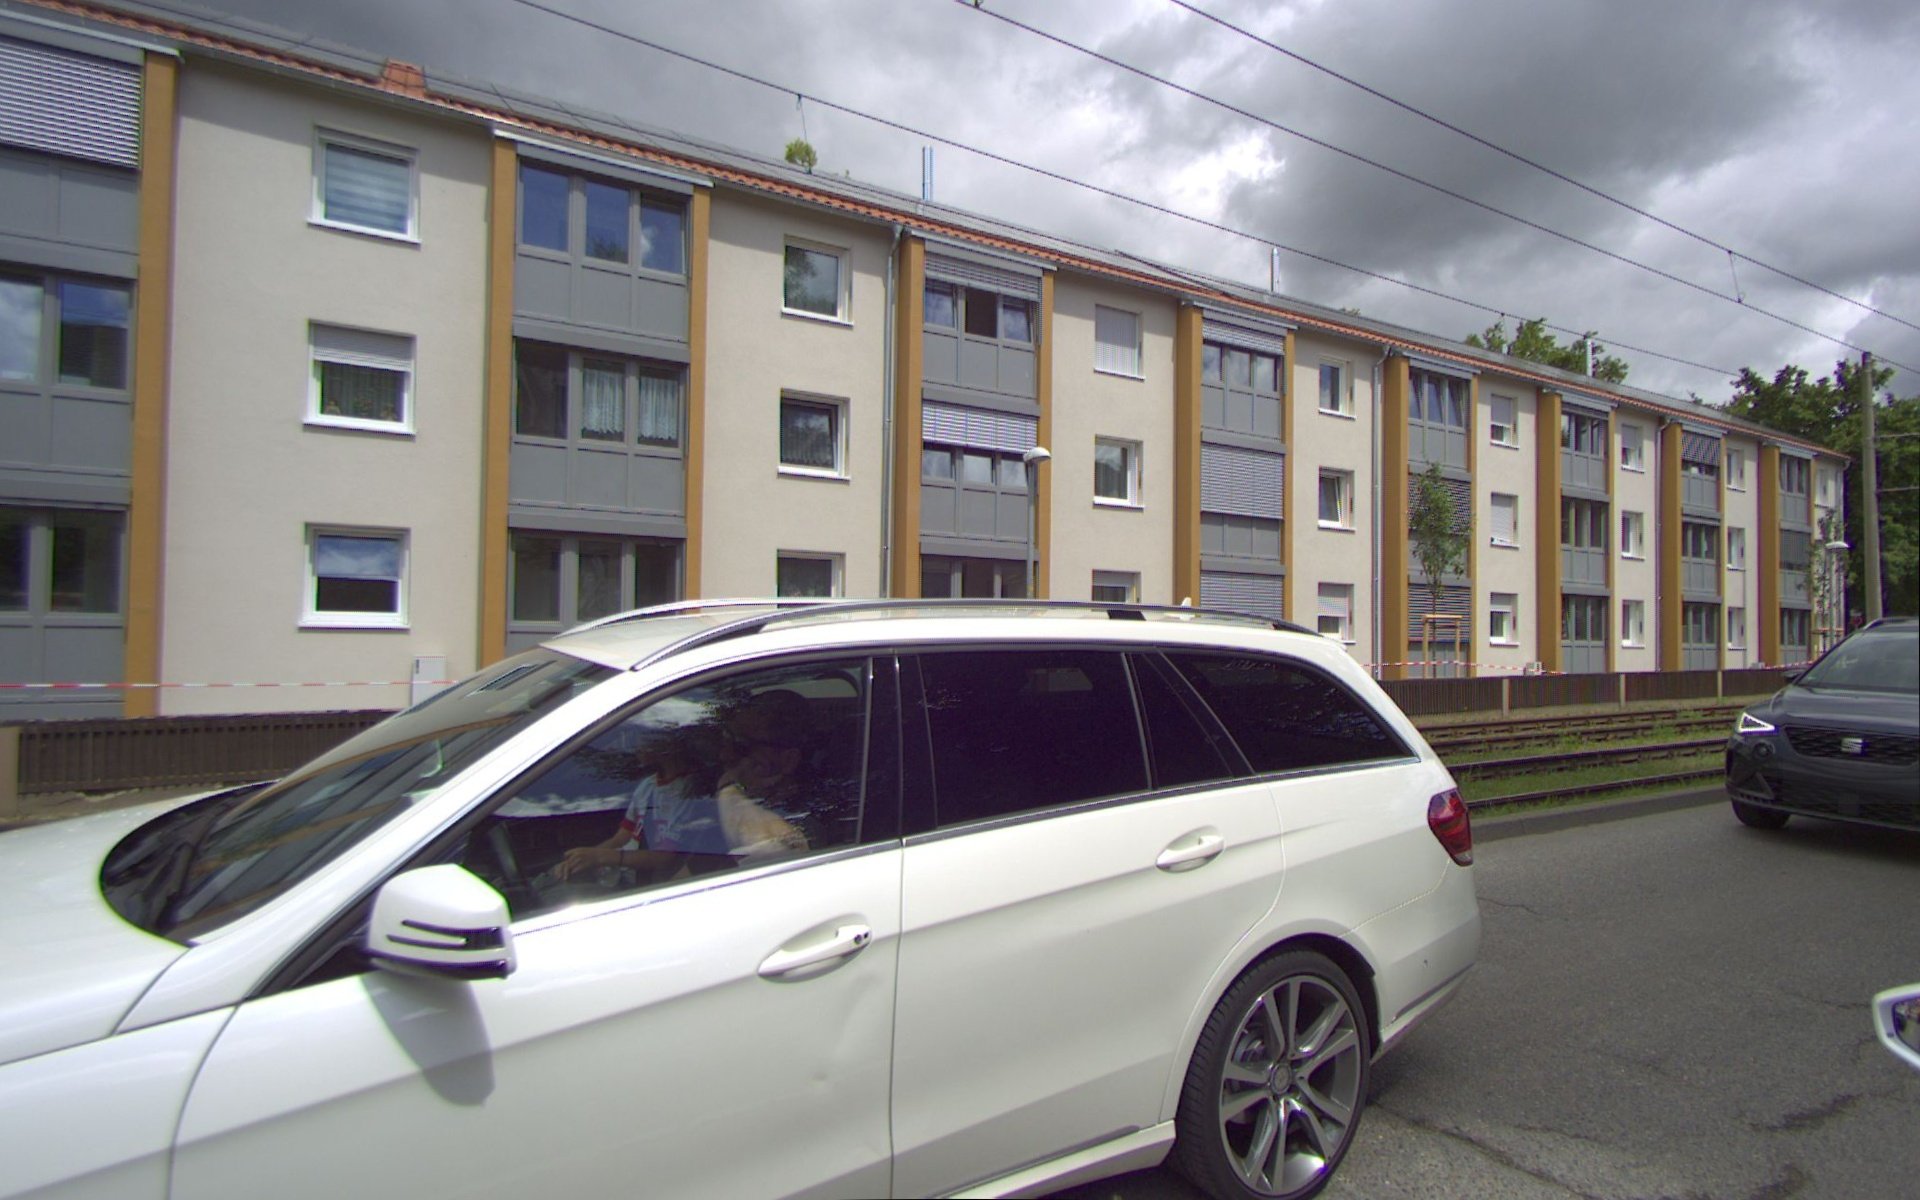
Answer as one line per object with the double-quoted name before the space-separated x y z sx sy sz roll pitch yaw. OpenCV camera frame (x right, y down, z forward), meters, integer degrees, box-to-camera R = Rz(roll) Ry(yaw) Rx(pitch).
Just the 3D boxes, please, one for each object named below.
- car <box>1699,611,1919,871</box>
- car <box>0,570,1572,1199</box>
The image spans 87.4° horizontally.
"car" 7.203 0.882 7.249 3.820 1.541 1.642 1 -1 -30
"car" -0.538 0.730 2.701 4.476 1.500 1.869 1 0 -31
